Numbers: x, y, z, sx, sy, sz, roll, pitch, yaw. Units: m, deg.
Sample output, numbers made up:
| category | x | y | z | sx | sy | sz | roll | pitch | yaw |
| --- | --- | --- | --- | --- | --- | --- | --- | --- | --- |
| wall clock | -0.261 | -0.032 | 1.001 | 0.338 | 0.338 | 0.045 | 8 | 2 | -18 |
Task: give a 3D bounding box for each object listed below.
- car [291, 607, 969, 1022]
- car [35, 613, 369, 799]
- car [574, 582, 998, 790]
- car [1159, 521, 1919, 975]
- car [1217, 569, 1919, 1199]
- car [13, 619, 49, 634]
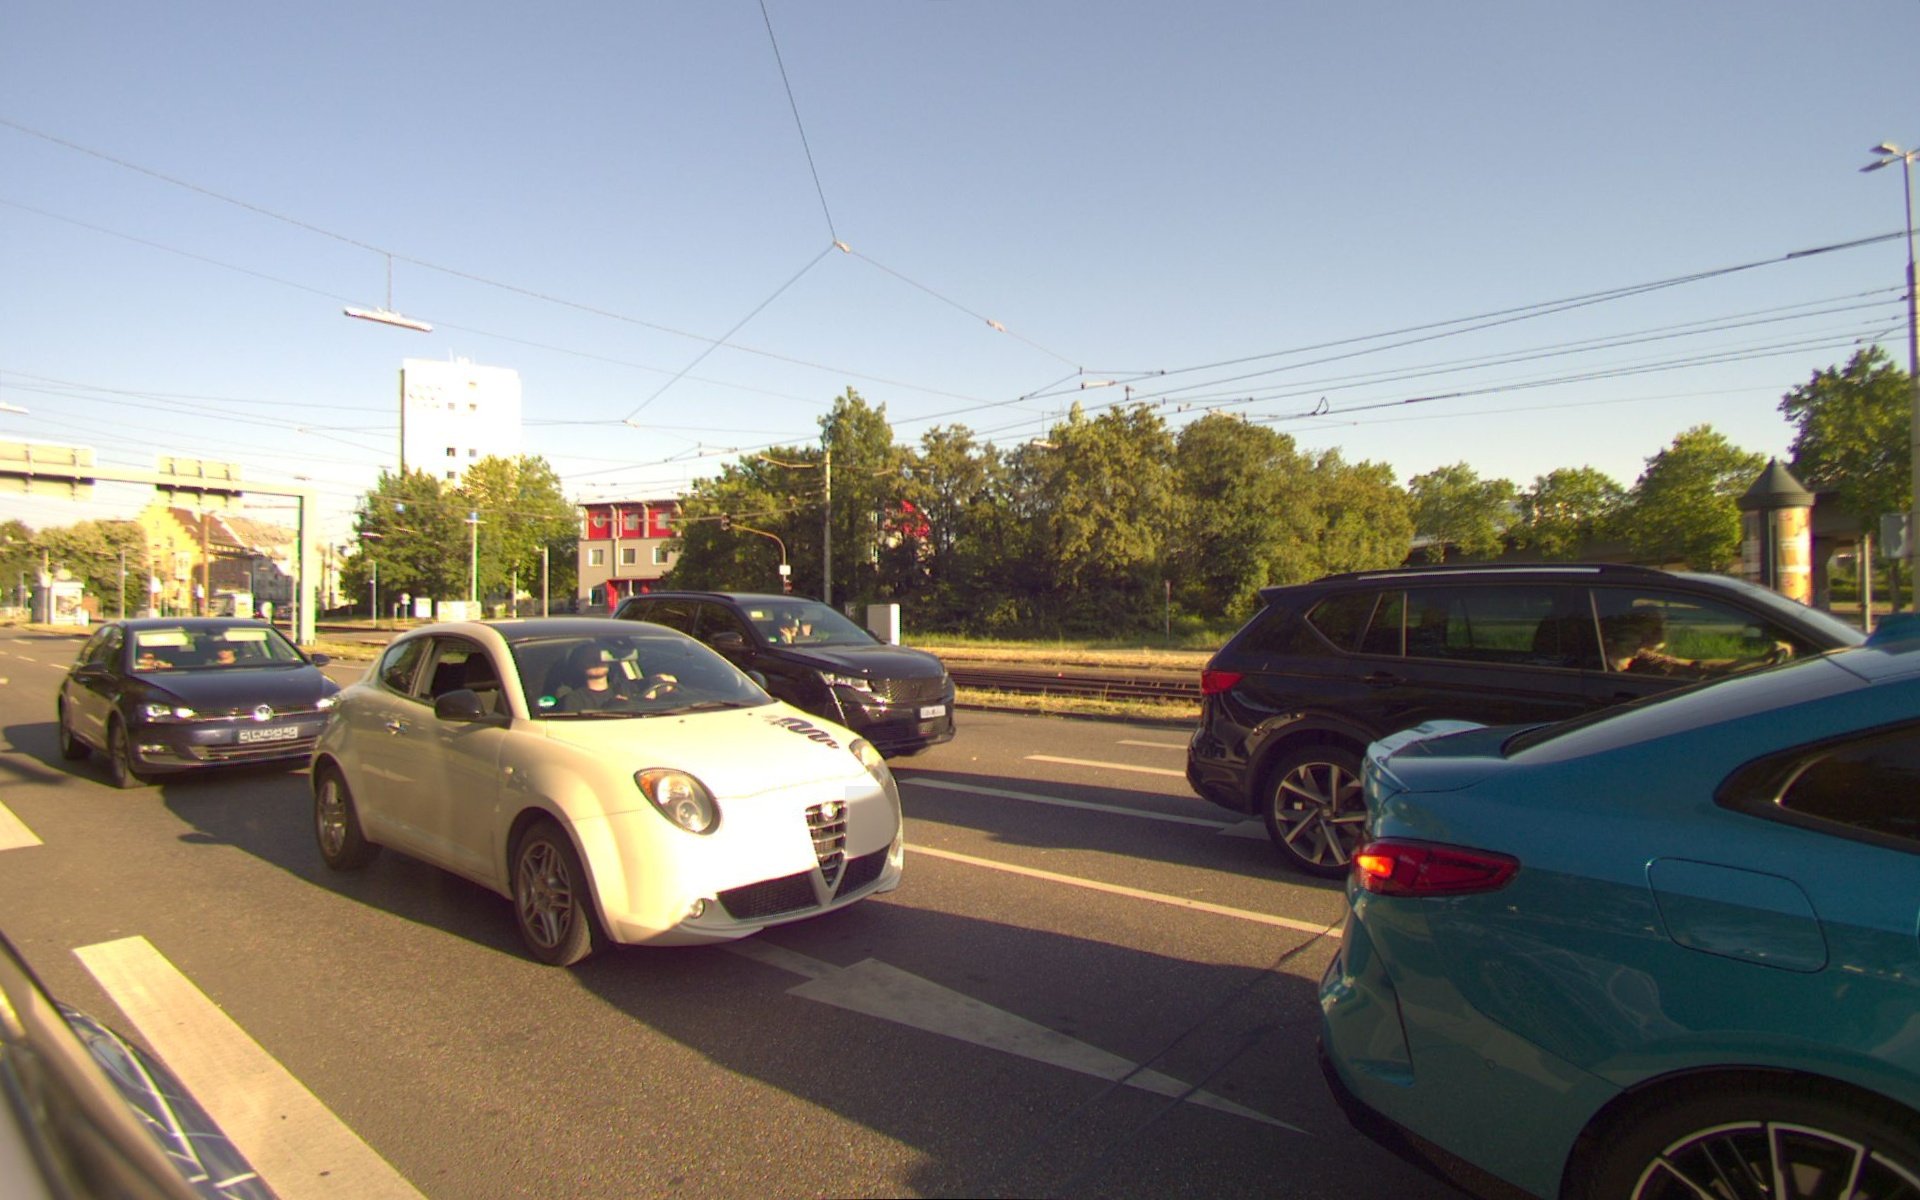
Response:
| category | x | y | z | sx | sy | sz | roll | pitch | yaw |
| --- | --- | --- | --- | --- | --- | --- | --- | --- | --- |
| car | -1.979 | 0.776 | 5.425 | 3.921 | 1.441 | 1.644 | -1 | -1 | 40 |
| car | -7.463 | 0.863 | 9.842 | 3.921 | 1.441 | 1.759 | -1 | -1 | 40 |
| car | -1.969 | 0.720 | 10.373 | 4.601 | 1.661 | 1.894 | -1 | -1 | 43 |
| car | 3.515 | 0.569 | 5.086 | 4.598 | 1.694 | 1.896 | -1 | -1 | 40 |
| car | 2.865 | 0.655 | 1.487 | 4.507 | 1.428 | 1.767 | -1 | -1 | 39 |
| car | -118.891 | 3.366 | 129.536 | 1.965 | 1.831 | 4.013 | -1 | 0 | -19 |
